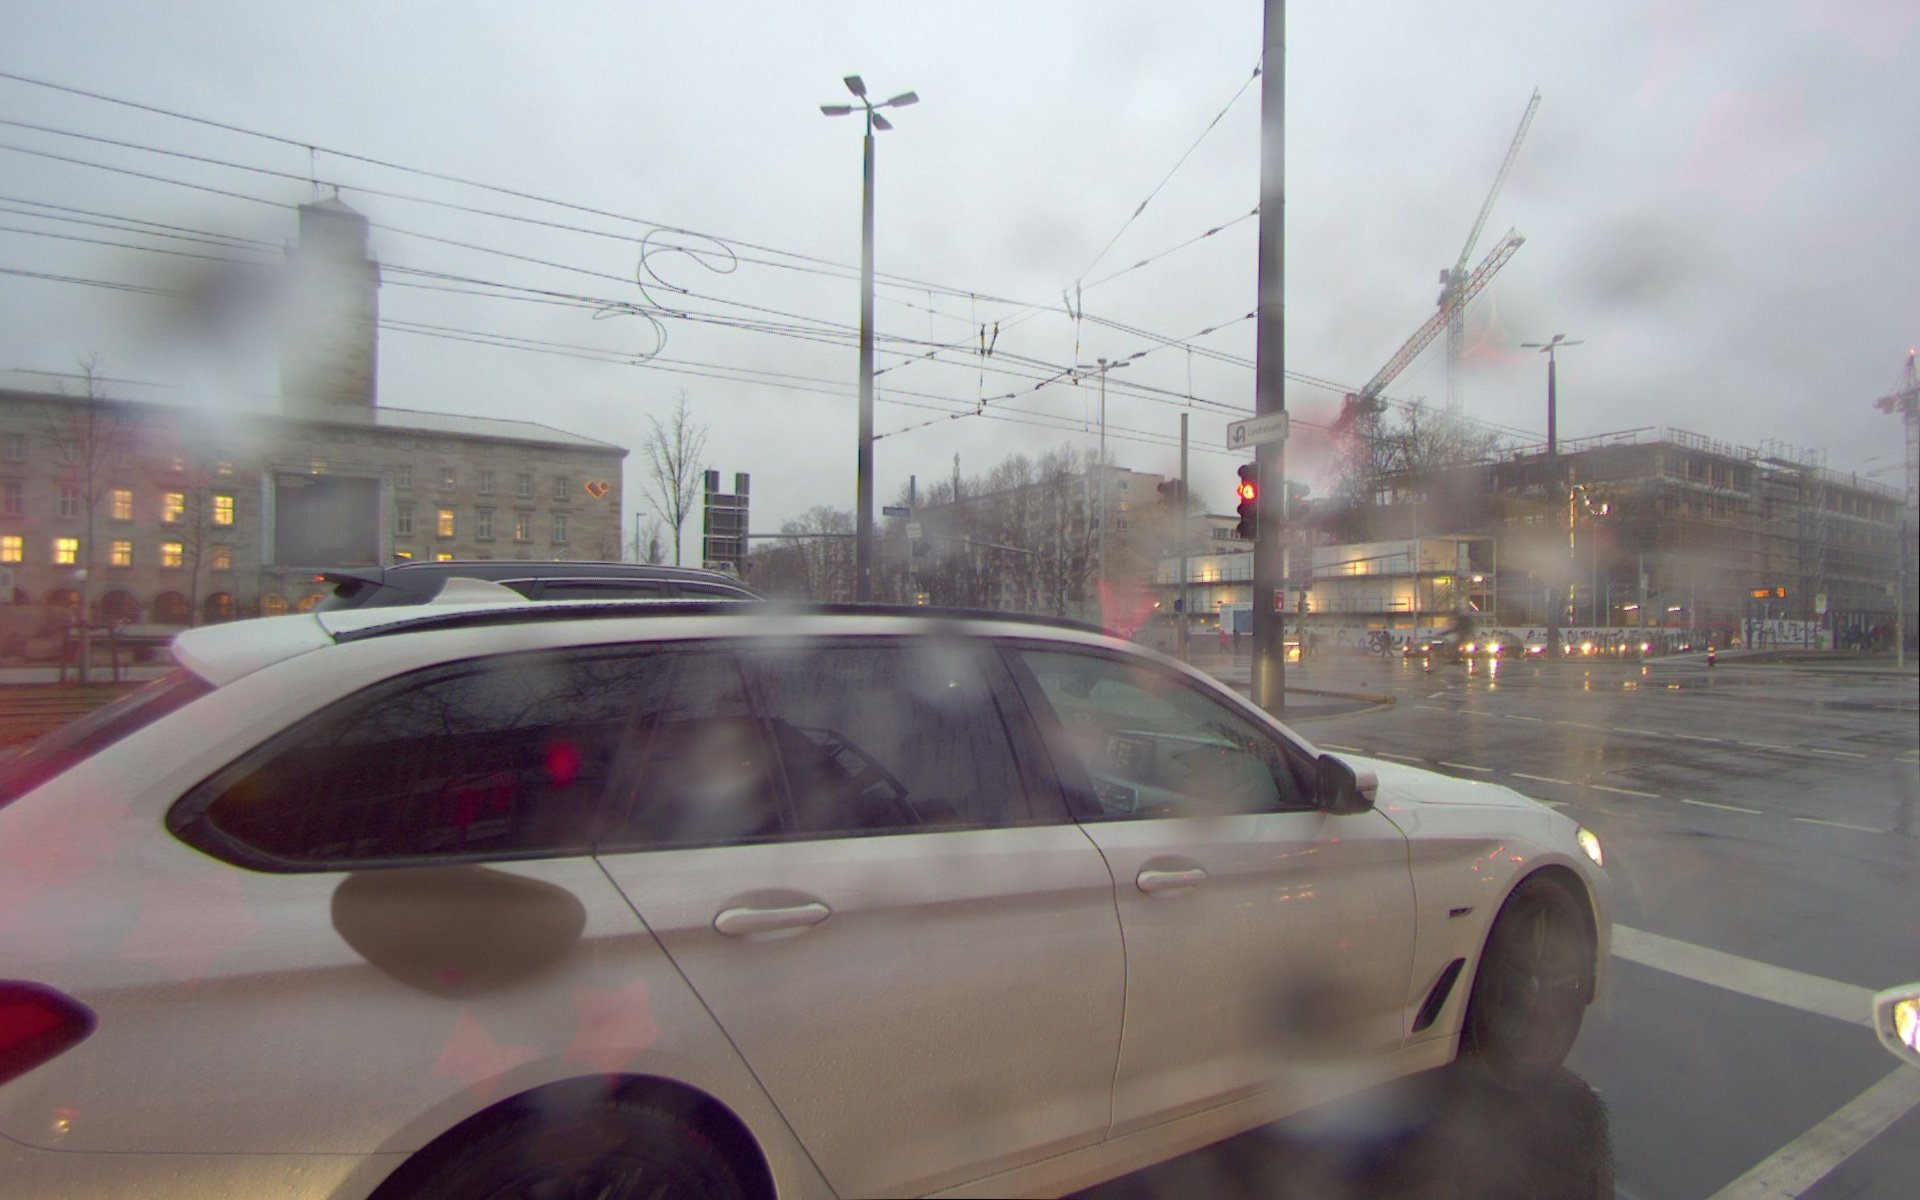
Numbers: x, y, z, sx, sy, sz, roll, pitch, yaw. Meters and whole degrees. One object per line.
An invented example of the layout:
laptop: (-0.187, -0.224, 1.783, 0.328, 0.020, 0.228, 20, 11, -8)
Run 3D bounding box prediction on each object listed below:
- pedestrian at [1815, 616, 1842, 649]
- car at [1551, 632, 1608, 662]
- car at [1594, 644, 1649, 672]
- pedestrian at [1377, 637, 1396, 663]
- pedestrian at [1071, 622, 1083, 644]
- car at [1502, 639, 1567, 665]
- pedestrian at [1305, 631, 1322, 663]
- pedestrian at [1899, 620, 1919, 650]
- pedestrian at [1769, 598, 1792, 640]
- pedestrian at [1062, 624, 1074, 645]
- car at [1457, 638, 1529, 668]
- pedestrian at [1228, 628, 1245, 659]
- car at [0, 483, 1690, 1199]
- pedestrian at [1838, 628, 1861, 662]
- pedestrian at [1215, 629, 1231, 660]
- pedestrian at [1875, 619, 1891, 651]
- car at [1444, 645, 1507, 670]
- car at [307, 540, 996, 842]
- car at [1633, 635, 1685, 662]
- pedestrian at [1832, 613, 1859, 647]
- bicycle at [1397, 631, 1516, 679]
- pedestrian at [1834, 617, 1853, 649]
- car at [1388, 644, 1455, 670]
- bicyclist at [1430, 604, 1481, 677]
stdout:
pedestrian: (53.837, 2.010, 62.263, 1.082, 2.040, 0.937, 2, 0, -32)
car: (41.015, 3.082, 66.498, 3.963, 1.852, 1.852, 2, 0, -37)
car: (46.841, 4.097, 71.086, 3.963, 1.814, 1.979, 2, 0, -37)
pedestrian: (23.544, 2.742, 55.433, 0.710, 1.407, 0.730, 2, 0, -2)
pedestrian: (10.084, 2.852, 86.392, 0.709, 1.927, 0.787, 1, -1, -31)
car: (35.884, 3.249, 62.723, 4.577, 1.550, 2.059, 2, -2, -40)
pedestrian: (24.875, 3.275, 70.684, 0.758, 2.194, 0.867, 2, 0, -38)
pedestrian: (65.975, 2.414, 69.700, 1.082, 2.040, 0.937, 2, 0, -32)
pedestrian: (47.234, 1.110, 57.811, 0.754, 2.354, 0.761, 3, -1, -30)
pedestrian: (9.285, 2.993, 86.226, 0.714, 1.800, 0.789, 1, -1, -23)
car: (31.356, 3.100, 59.104, 3.953, 1.679, 1.984, 2, -2, -30)
pedestrian: (18.670, 2.945, 67.809, 0.737, 2.040, 0.783, 2, 0, -25)
car: (0.039, 0.679, 3.098, 4.508, 1.506, 2.007, 2, -2, -31)
pedestrian: (53.147, 2.688, 60.010, 0.754, 1.922, 0.761, 3, -1, -30)
pedestrian: (17.793, 3.015, 67.971, 0.620, 2.040, 0.856, 2, 0, -37)
pedestrian: (57.930, 2.194, 63.046, 0.659, 1.994, 0.566, 2, 1, -36)
car: (34.701, 3.855, 67.567, 3.953, 1.550, 1.984, 2, -2, -30)
car: (-2.062, 0.556, 7.237, 4.238, 1.605, 1.958, 2, -1, -29)
car: (51.532, 3.574, 73.991, 3.963, 1.814, 1.979, 2, 0, -37)
pedestrian: (55.335, 1.872, 62.776, 1.082, 2.040, 0.937, 2, 0, -32)
bicycle: (13.400, 1.465, 27.169, 2.816, 1.114, 0.743, 2, 0, 32)
pedestrian: (53.920, 2.028, 61.291, 0.547, 1.906, 0.695, 2, 0, -30)
car: (29.354, 3.598, 63.827, 3.953, 1.550, 1.984, 2, -2, -30)
bicyclist: (13.404, 1.070, 27.170, 1.140, 1.896, 0.743, 2, 0, 33)
